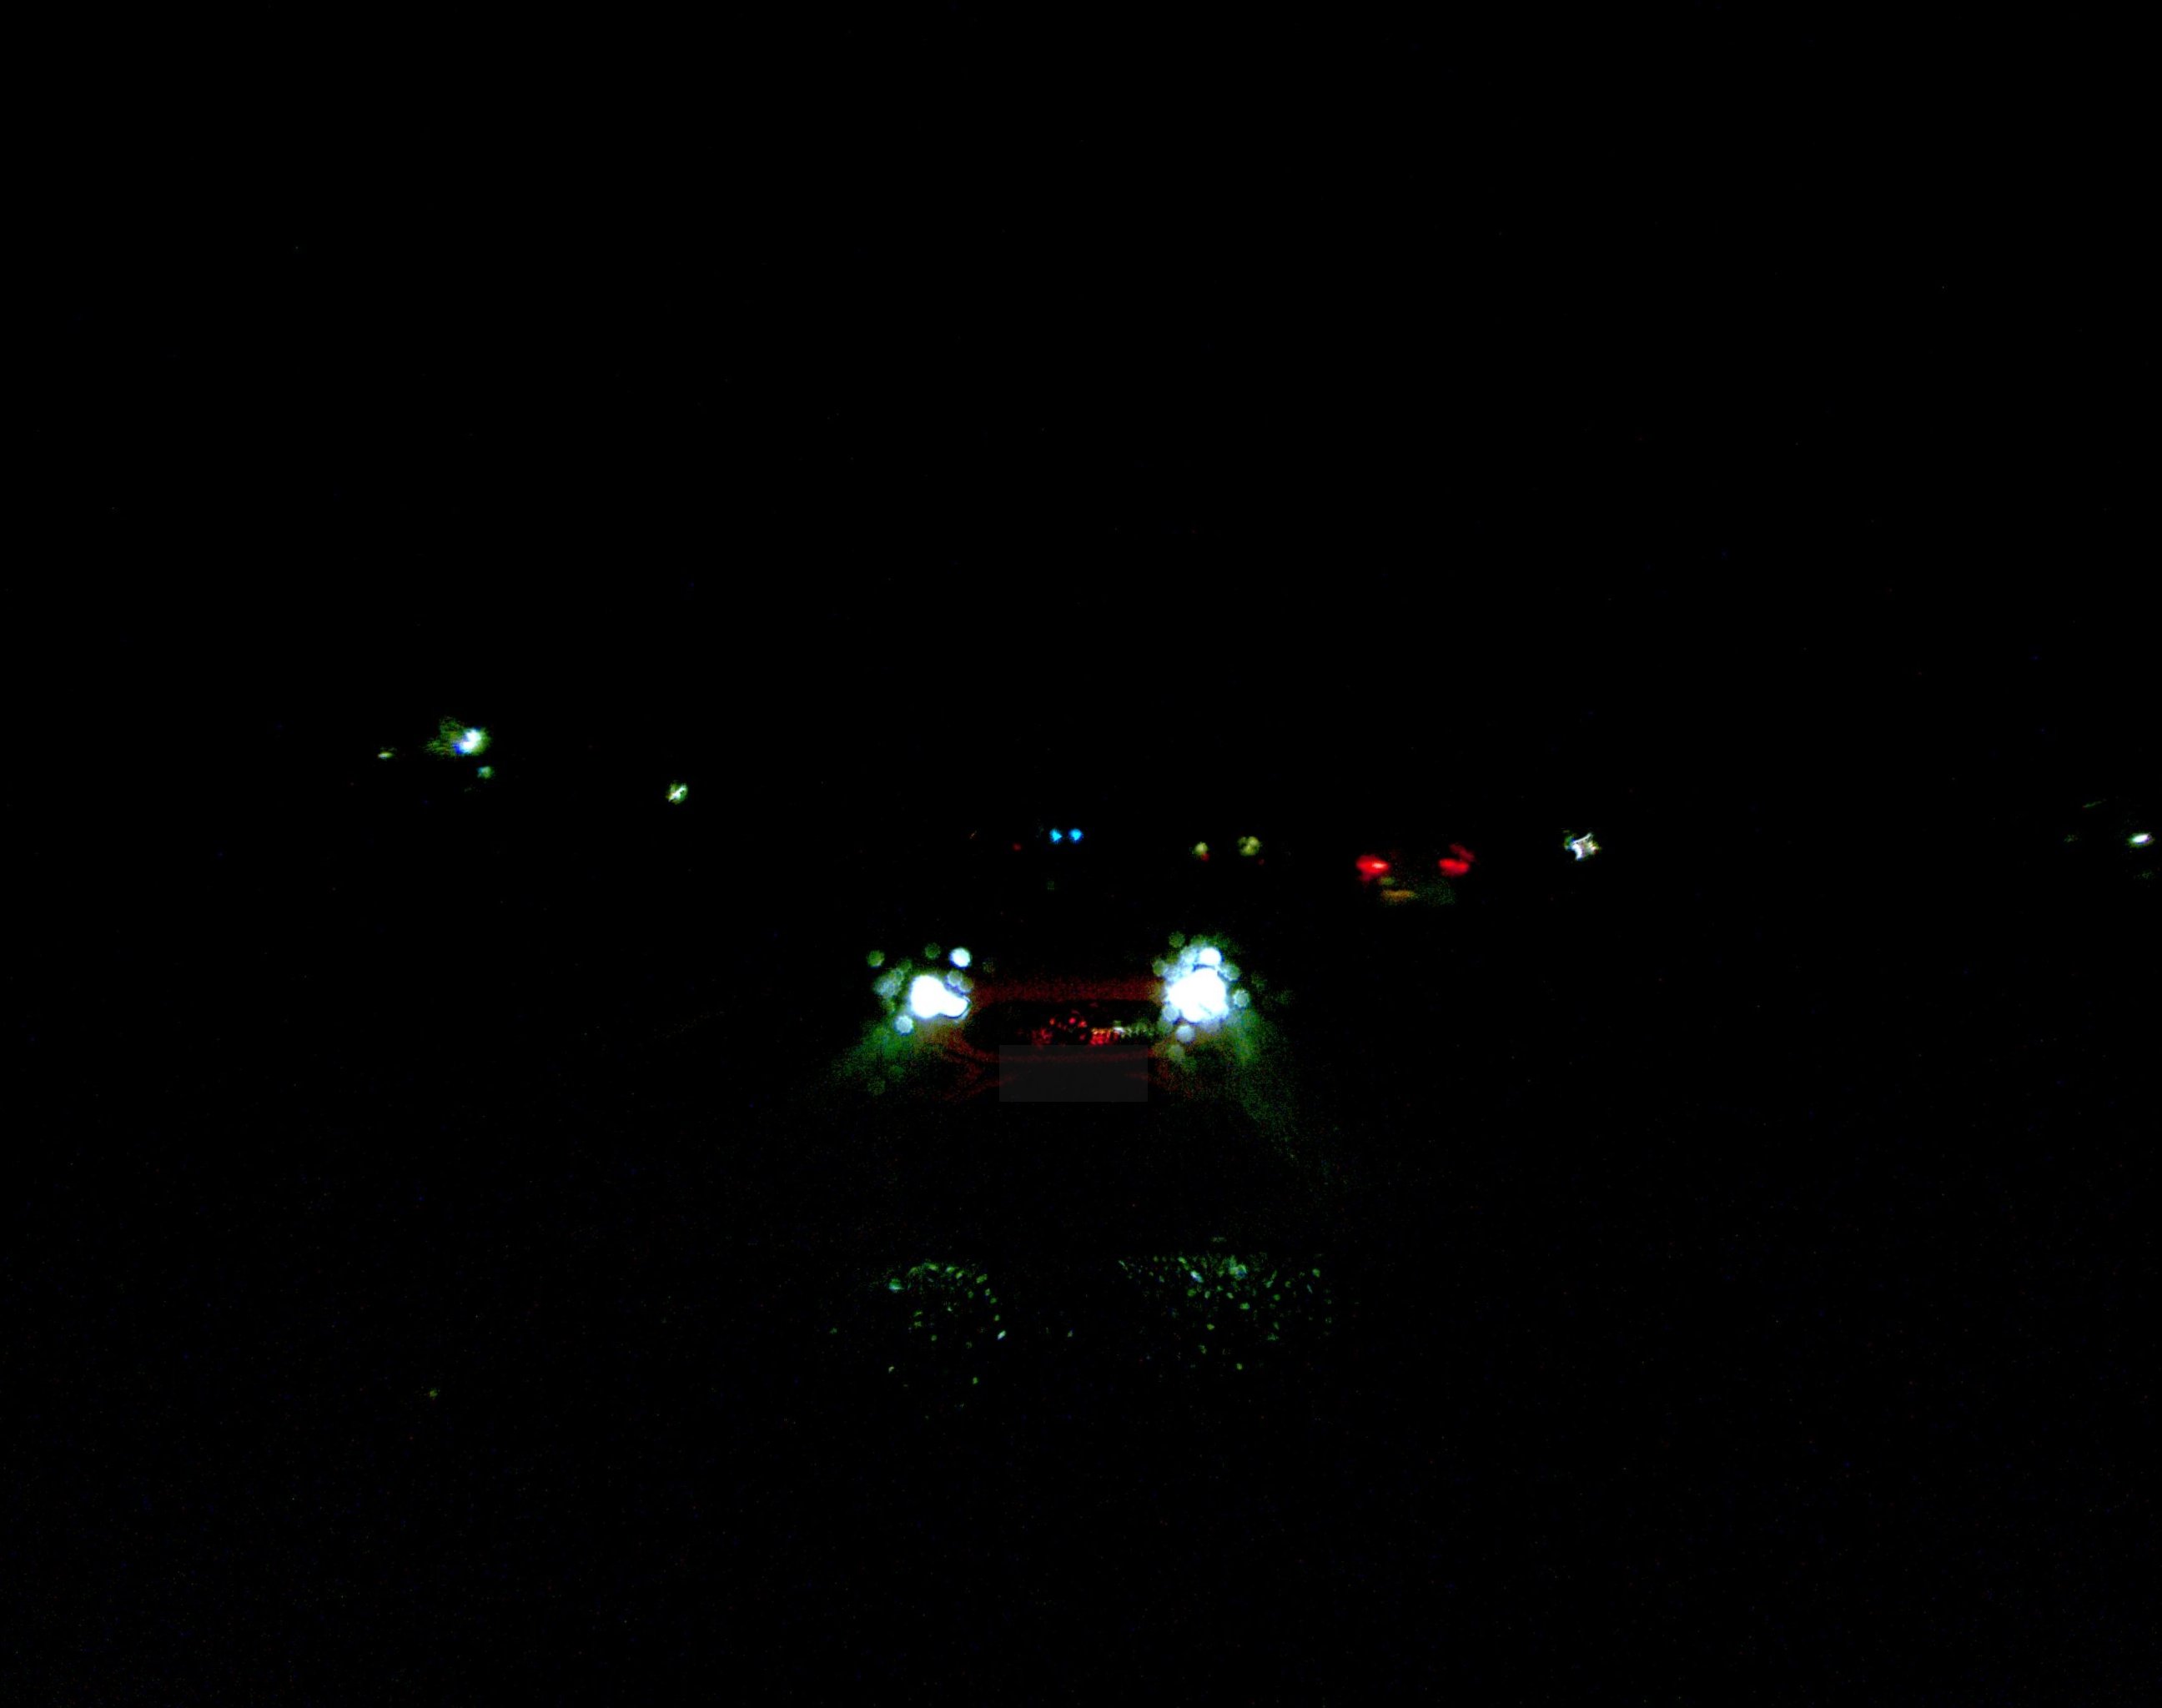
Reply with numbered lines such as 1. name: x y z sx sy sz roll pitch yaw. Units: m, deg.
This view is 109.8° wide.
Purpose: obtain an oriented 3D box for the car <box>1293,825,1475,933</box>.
1. car: 6.459 0.492 16.888 2.090 2.002 4.713 -1 0 -1

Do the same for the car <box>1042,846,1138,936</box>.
1. car: 0.175 0.715 17.651 1.839 1.725 4.940 -2 1 0

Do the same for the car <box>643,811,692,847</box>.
1. car: -25.028 -1.471 46.076 1.735 2.002 3.696 -3 1 -16

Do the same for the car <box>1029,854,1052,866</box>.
1. car: -7.062 1.033 132.505 2.004 2.002 3.989 -3 1 -42

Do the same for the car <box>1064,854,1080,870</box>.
1. car: -1.246 1.075 103.070 1.998 2.002 3.999 -2 1 1

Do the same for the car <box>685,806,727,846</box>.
1. car: -27.814 -2.030 56.478 1.937 2.759 4.249 -3 1 -16

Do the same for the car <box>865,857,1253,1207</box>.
1. car: -0.078 0.880 5.874 1.826 1.573 4.354 -2 1 1

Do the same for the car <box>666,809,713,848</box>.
1. car: -26.338 -1.678 51.275 1.937 2.406 4.249 -3 1 -16

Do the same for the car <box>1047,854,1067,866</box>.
1. car: -3.992 0.988 125.364 2.001 2.002 3.993 -3 1 -19

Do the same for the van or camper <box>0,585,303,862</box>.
1. van or camper: -12.764 -1.341 9.032 2.417 2.777 5.763 -3 1 -18
